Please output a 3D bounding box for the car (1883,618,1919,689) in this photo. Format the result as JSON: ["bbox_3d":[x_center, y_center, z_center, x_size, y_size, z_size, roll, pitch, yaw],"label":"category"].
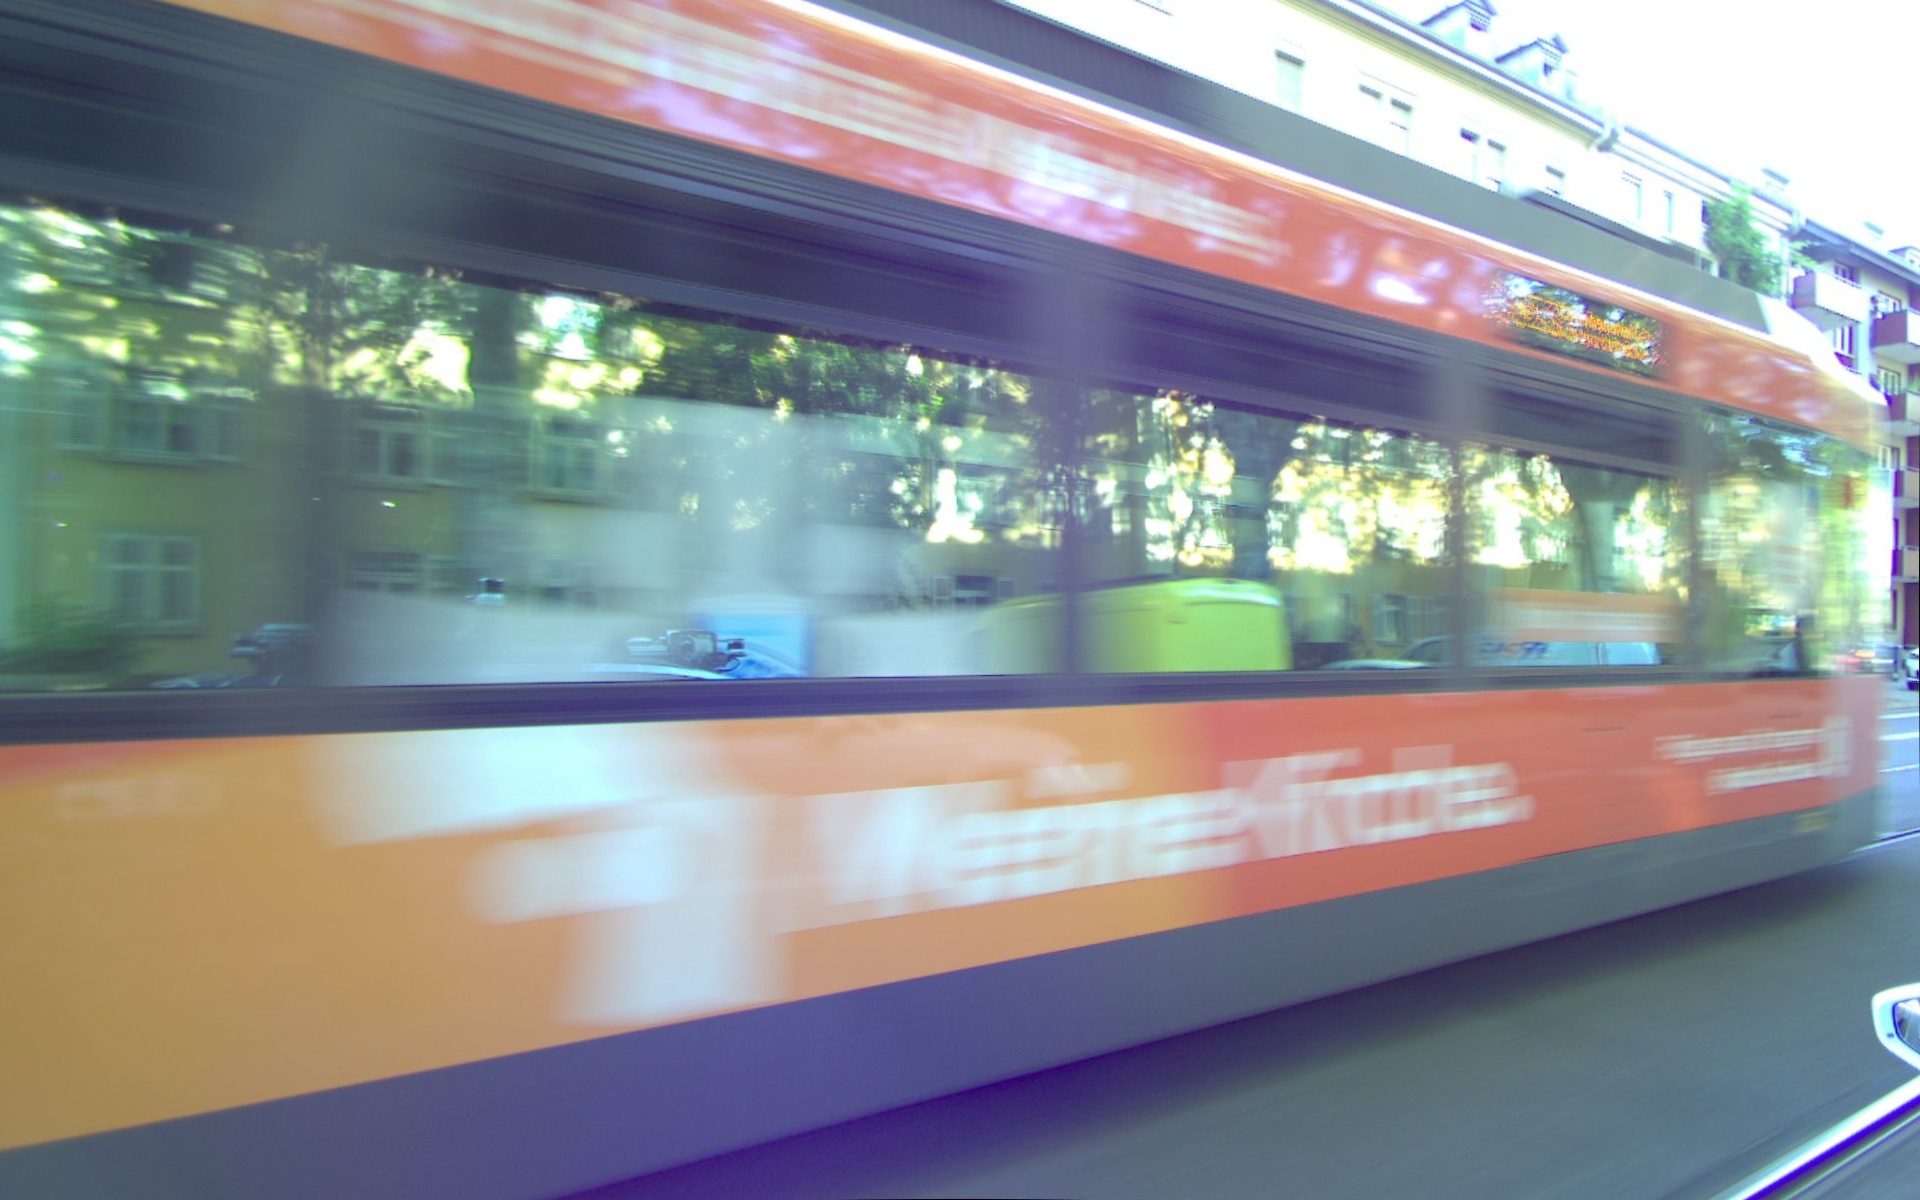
[{"bbox_3d":[25.451,1.400,25.294,4.827,1.670,1.942,2,1,-31],"label":"car"}]

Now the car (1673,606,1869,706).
[{"bbox_3d":[16.215,1.059,20.017,4.423,1.794,1.778,1,0,-33],"label":"car"}]

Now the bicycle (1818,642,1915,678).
[{"bbox_3d":[30.357,1.994,33.675,0.691,1.006,2.276,2,1,-32],"label":"bicycle"}]

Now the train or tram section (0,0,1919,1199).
[{"bbox_3d":[-0.278,-0.256,3.969,14.033,3.532,2.894,2,-1,-31],"label":"train or tram section"}]

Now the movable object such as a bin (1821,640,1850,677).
[{"bbox_3d":[27.683,1.840,31.761,0.492,1.114,0.576,1,0,-30],"label":"movable object such as a bin"}]

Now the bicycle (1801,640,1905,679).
[{"bbox_3d":[29.377,1.941,33.100,0.691,1.076,2.436,2,1,-32],"label":"bicycle"}]
